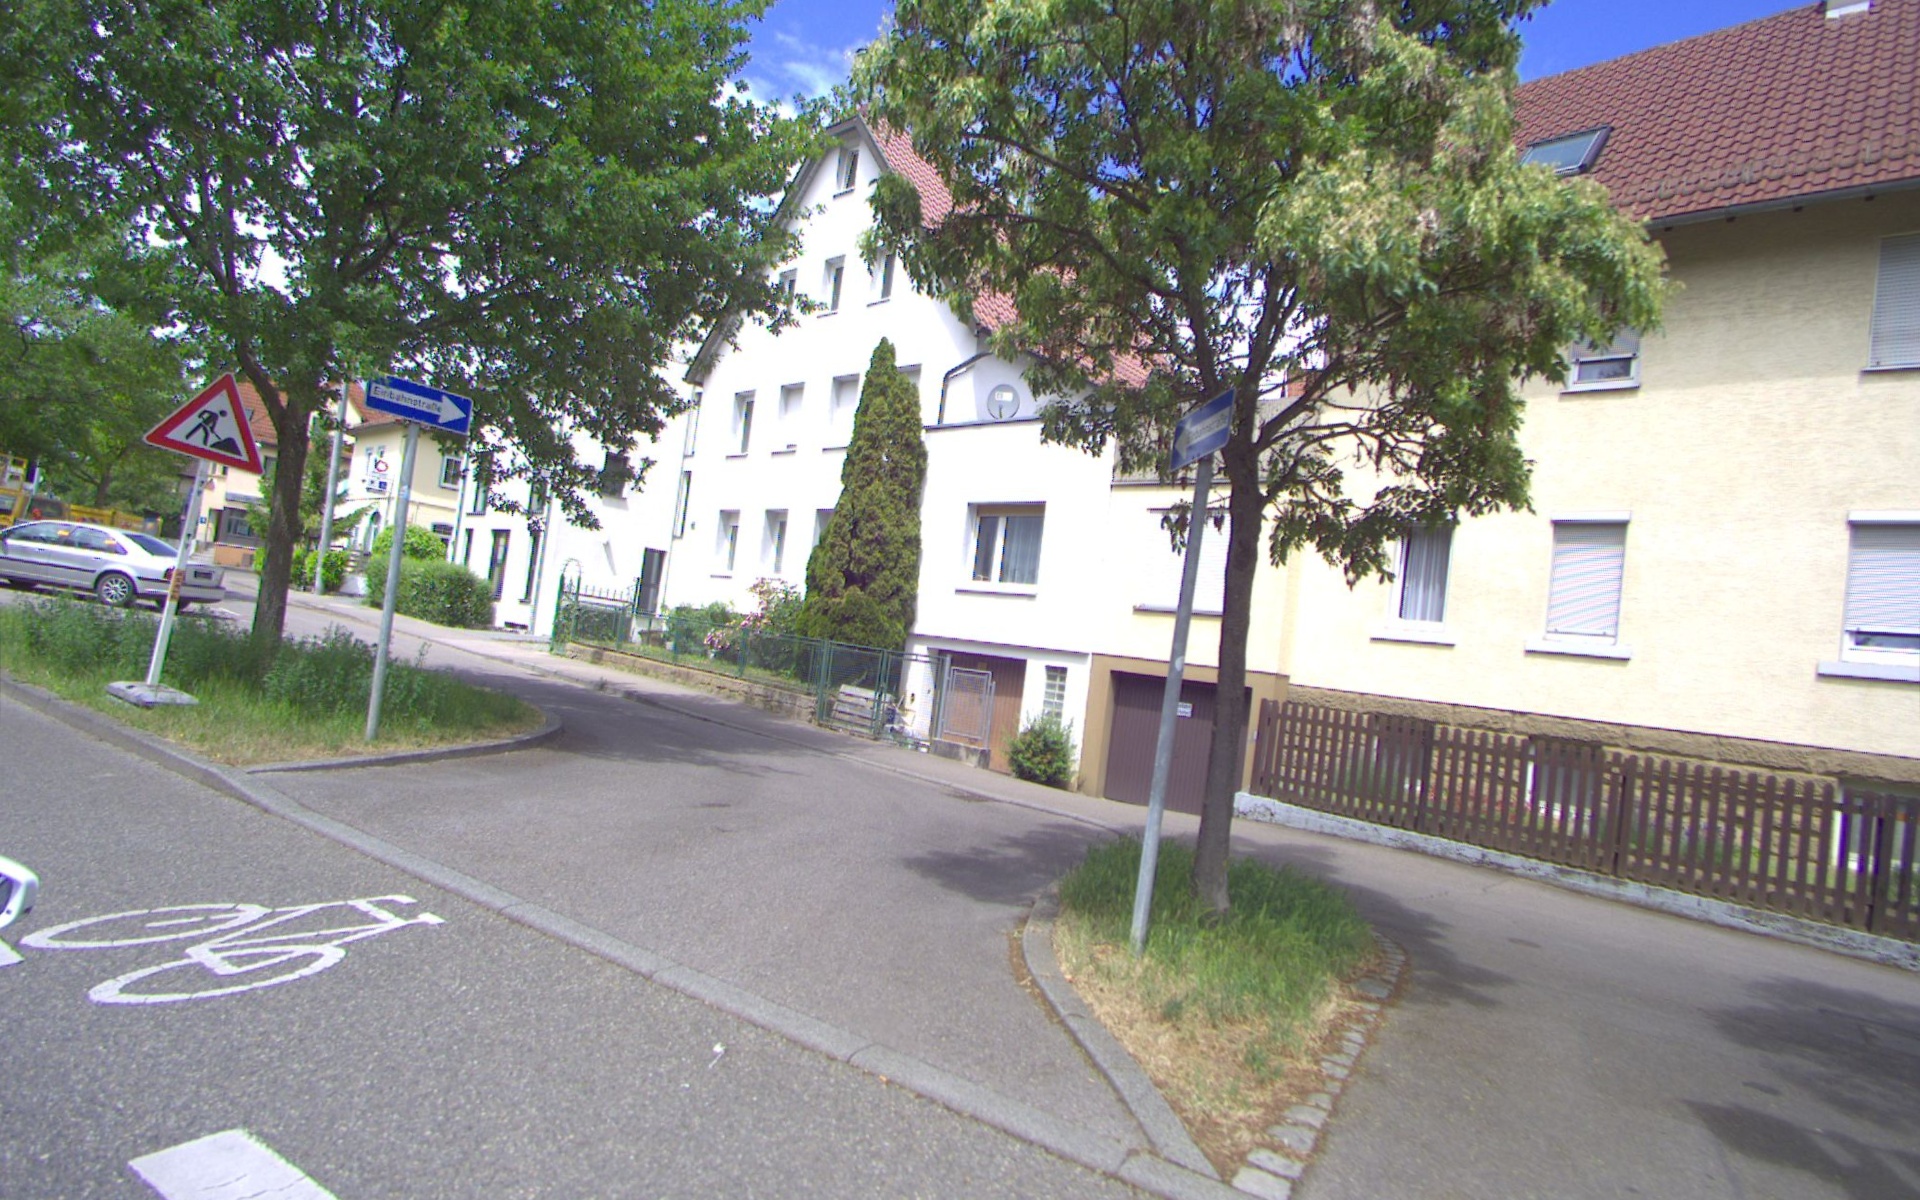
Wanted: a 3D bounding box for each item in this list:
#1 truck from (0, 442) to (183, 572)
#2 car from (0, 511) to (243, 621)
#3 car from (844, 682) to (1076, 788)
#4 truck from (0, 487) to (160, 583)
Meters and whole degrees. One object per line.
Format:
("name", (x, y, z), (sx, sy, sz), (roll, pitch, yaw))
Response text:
("truck", (-28.910, -3.078, 31.271), (6.600, 3.037, 2.770), (10, -5, -11))
("car", (-16.873, -0.719, 19.296), (4.612, 1.467, 1.767), (9, -3, -9))
("car", (-0.095, 2.193, 16.685), (3.824, 1.135, 1.461), (3, -7, 45))
("truck", (-26.753, -2.043, 28.709), (5.586, 2.033, 2.000), (10, -5, -10))
